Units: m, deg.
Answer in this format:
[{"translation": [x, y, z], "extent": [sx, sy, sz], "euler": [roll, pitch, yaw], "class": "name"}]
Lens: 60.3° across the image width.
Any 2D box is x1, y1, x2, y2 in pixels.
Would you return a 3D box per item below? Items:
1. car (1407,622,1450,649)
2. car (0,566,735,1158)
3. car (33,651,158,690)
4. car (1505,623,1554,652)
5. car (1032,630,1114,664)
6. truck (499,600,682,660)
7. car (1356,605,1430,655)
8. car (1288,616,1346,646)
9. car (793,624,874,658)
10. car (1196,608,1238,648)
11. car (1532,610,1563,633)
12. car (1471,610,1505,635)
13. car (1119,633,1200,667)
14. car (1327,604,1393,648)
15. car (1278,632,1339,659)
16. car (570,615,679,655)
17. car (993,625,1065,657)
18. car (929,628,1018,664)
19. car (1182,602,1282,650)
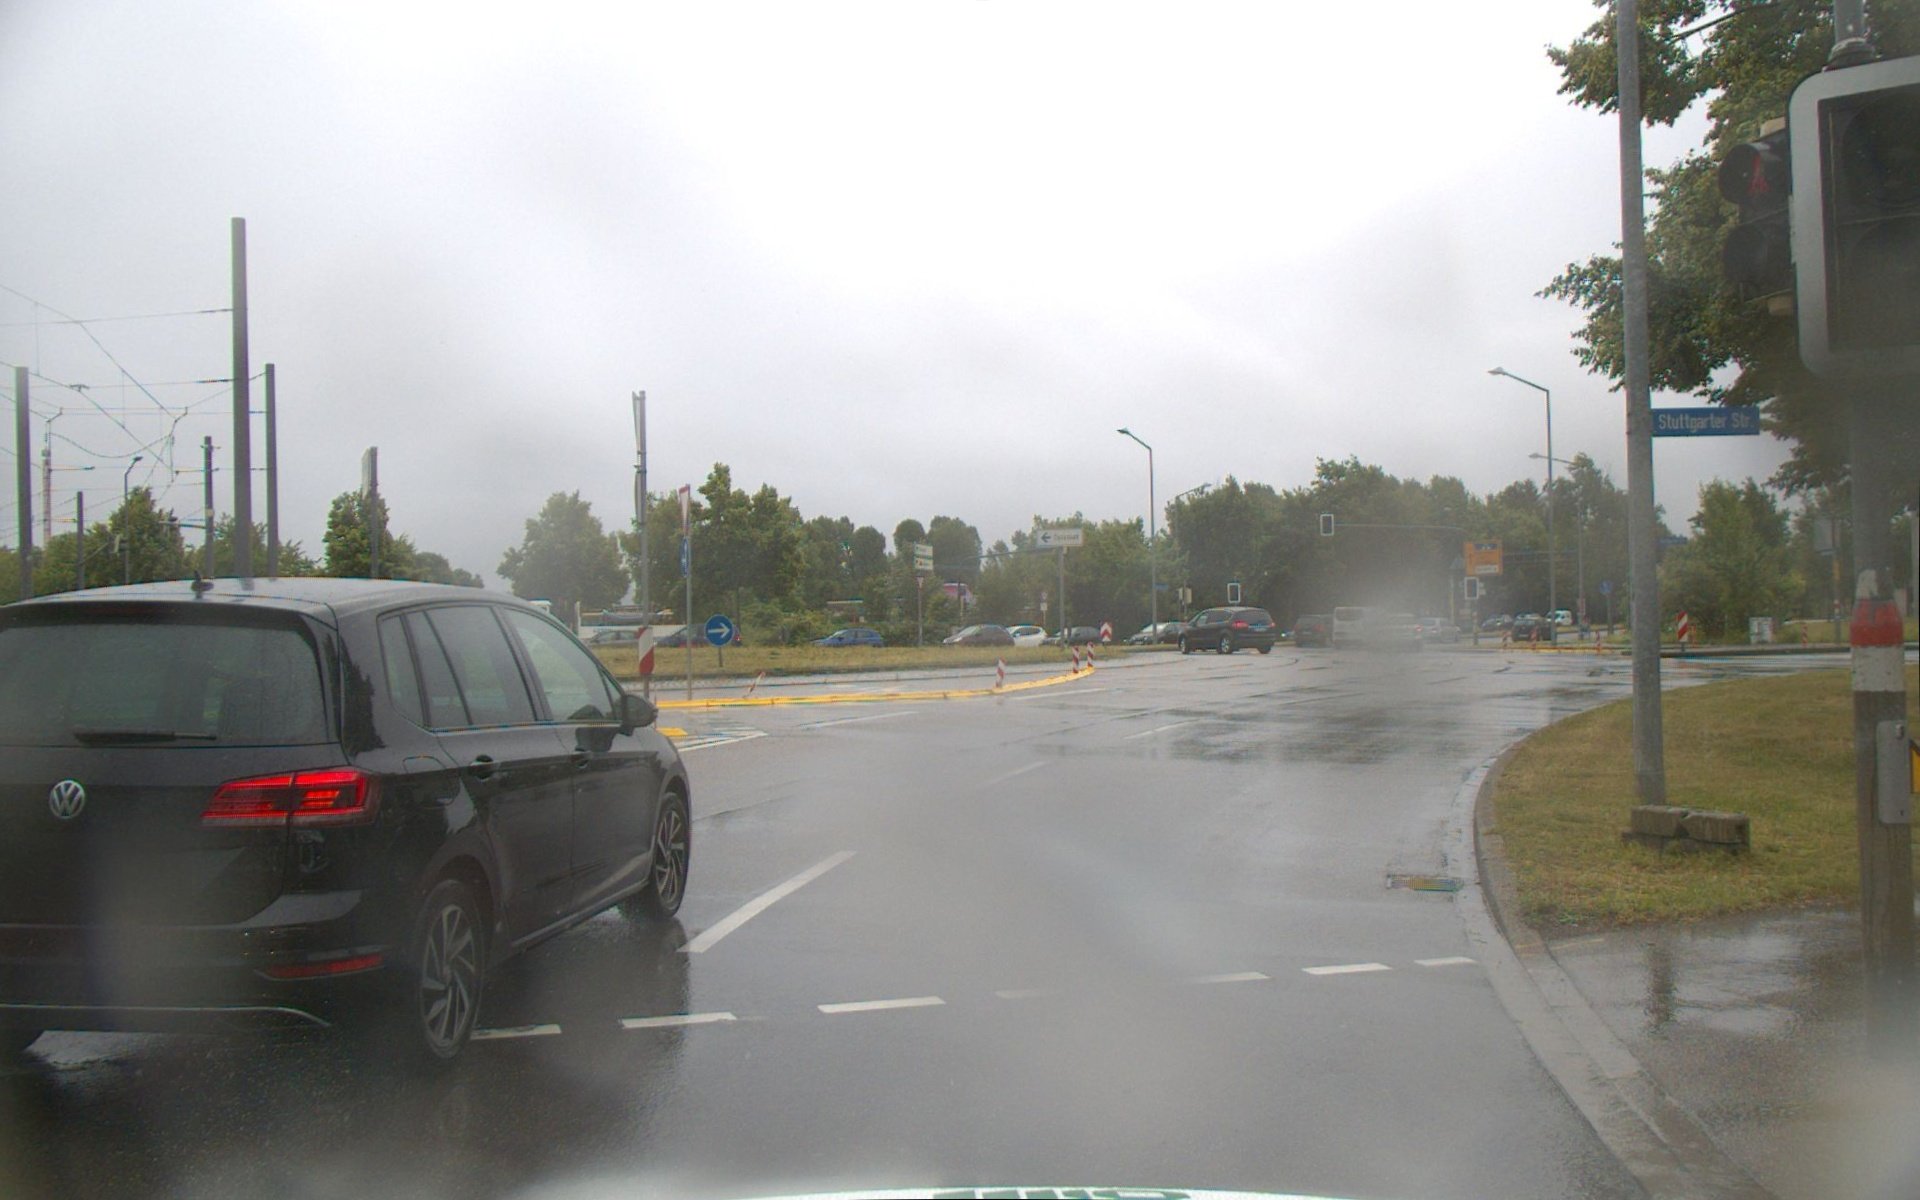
[{"translation": [27.414, 2.080, 96.681], "extent": [1.657, 1.518, 3.245], "euler": [-2, -1, 30], "class": "car"}, {"translation": [-2.264, 0.732, 6.606], "extent": [1.745, 1.544, 4.334], "euler": [1, -1, 5], "class": "car"}, {"translation": [-35.674, 2.911, 68.302], "extent": [4.488, 1.518, 1.595], "euler": [2, -2, -31], "class": "car"}, {"translation": [31.841, 2.070, 92.467], "extent": [1.660, 1.518, 3.238], "euler": [-2, -1, 36], "class": "car"}, {"translation": [5.965, 2.485, 87.367], "extent": [3.927, 1.677, 1.779], "euler": [1, -1, -20], "class": "car"}, {"translation": [-18.131, 1.500, 81.348], "extent": [8.623, 2.759, 1.992], "euler": [1, -1, -15], "class": "truck"}, {"translation": [16.743, 1.166, 64.208], "extent": [1.746, 1.842, 4.838], "euler": [-1, -1, 2], "class": "car"}, {"translation": [18.589, 1.618, 85.964], "extent": [1.663, 1.518, 3.234], "euler": [0, -2, 40], "class": "car"}, {"translation": [-6.552, 2.139, 85.392], "extent": [3.921, 1.677, 1.781], "euler": [1, -1, -16], "class": "car"}, {"translation": [11.266, 1.234, 72.451], "extent": [1.645, 1.676, 3.950], "euler": [1, -1, 11], "class": "car"}, {"translation": [54.336, 1.957, 153.008], "extent": [1.758, 2.049, 3.659], "euler": [0, -2, 36], "class": "car"}, {"translation": [45.250, 1.911, 141.804], "extent": [1.758, 2.049, 3.659], "euler": [0, -2, 36], "class": "car"}, {"translation": [10.546, 2.648, 87.611], "extent": [3.935, 1.677, 1.775], "euler": [2, -1, -24], "class": "car"}, {"translation": [19.730, 1.309, 81.470], "extent": [1.754, 2.072, 3.983], "euler": [0, -2, 37], "class": "car"}, {"translation": [21.208, 2.771, 100.512], "extent": [3.965, 1.602, 1.651], "euler": [2, -2, -42], "class": "car"}, {"translation": [-15.637, 1.634, 77.237], "extent": [4.754, 1.774, 1.776], "euler": [1, -1, -4], "class": "car"}, {"translation": [3.860, 2.286, 91.623], "extent": [3.970, 1.677, 1.760], "euler": [2, -2, -45], "class": "car"}, {"translation": [0.664, 2.222, 79.794], "extent": [3.927, 1.677, 1.779], "euler": [1, -1, -19], "class": "car"}, {"translation": [9.788, 0.941, 59.707], "extent": [1.758, 1.676, 3.973], "euler": [2, -1, -22], "class": "car"}]
